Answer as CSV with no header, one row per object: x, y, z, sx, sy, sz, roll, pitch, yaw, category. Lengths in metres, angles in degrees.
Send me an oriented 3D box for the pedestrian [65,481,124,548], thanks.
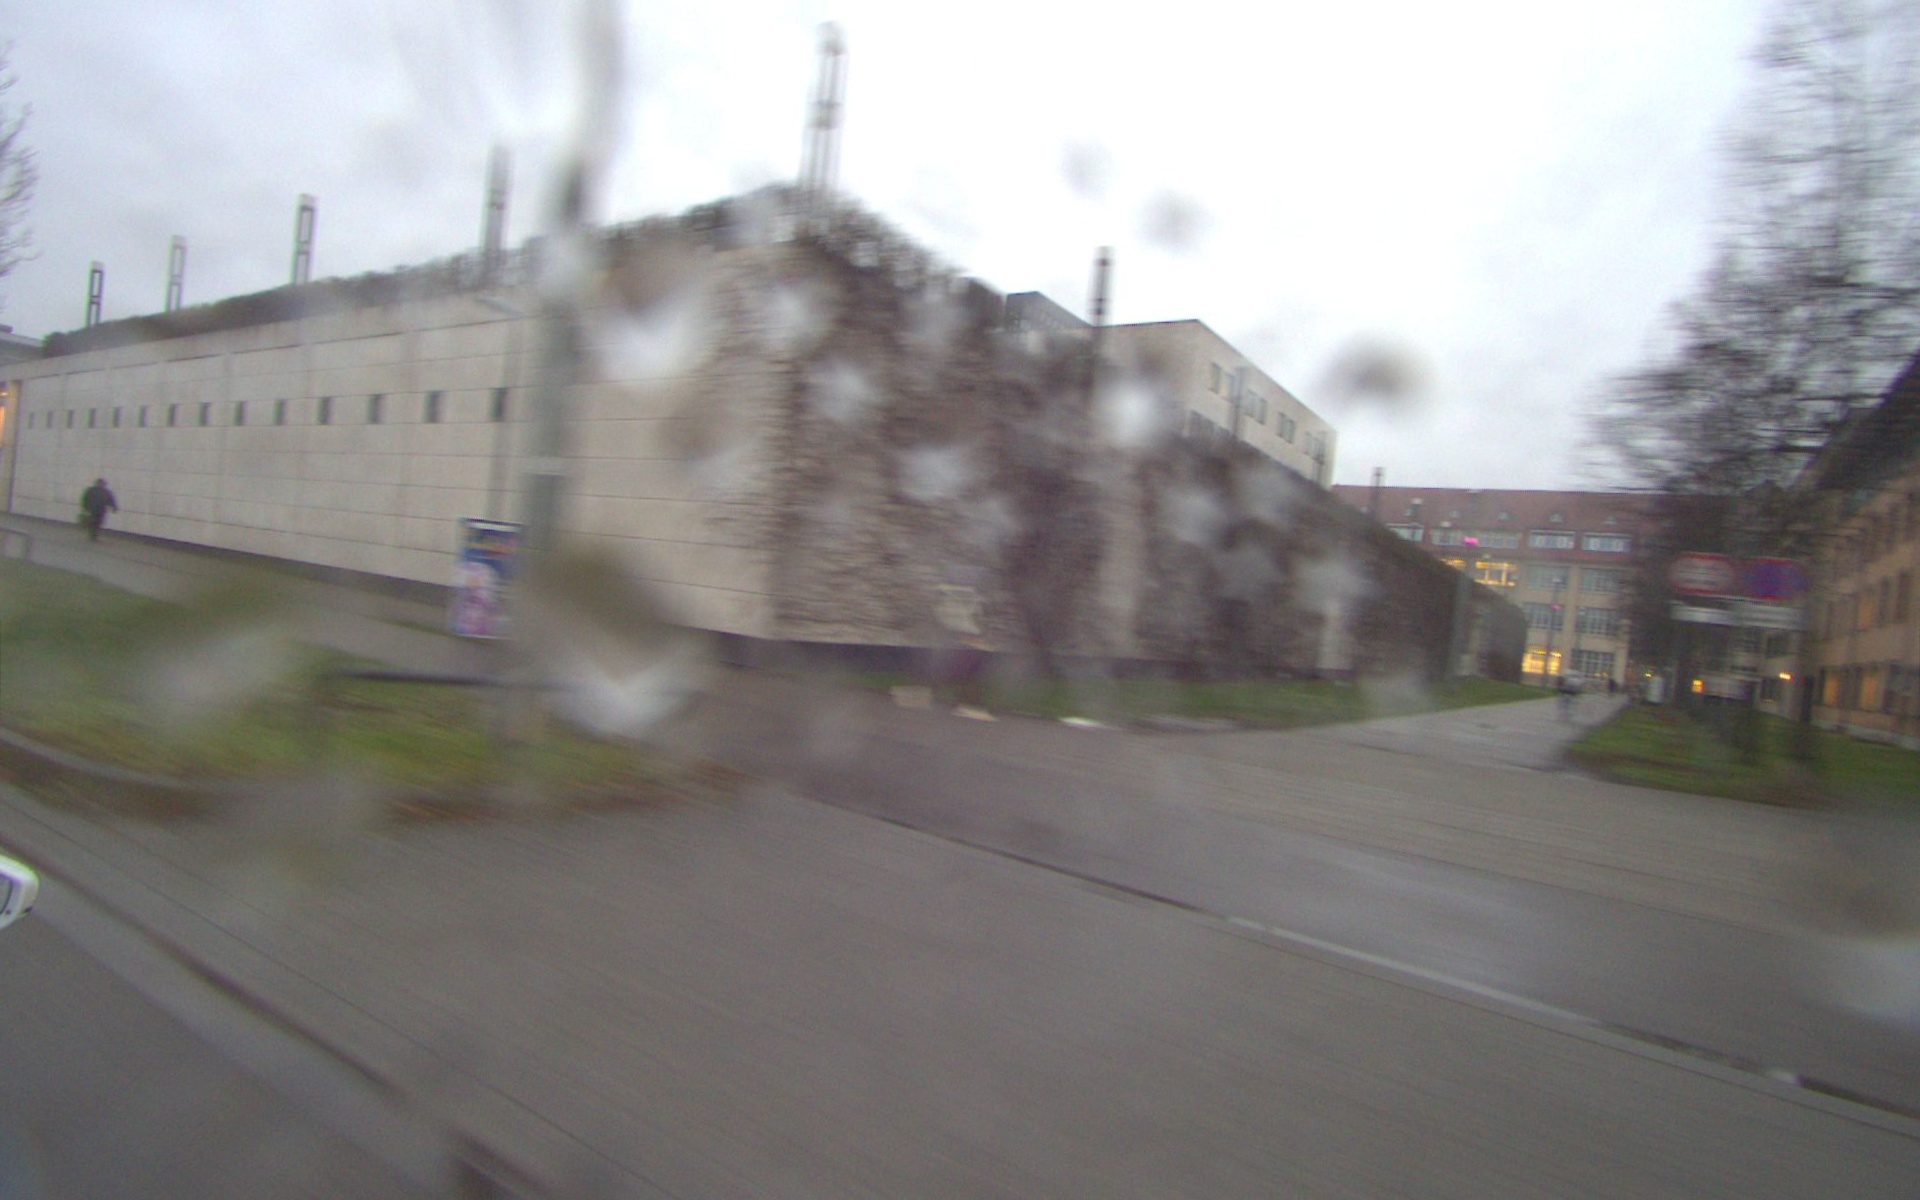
-22.928,-2.256,26.654,0.683,1.639,0.938,7,1,32,pedestrian

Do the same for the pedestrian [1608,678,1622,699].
53.615,7.228,82.352,0.722,1.657,0.710,7,1,36,pedestrian

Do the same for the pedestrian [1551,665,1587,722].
18.833,2.877,31.095,0.722,1.657,0.710,7,1,37,pedestrian

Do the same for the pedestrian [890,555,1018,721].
-0.062,0.395,10.848,1.049,1.631,0.621,7,1,32,pedestrian
